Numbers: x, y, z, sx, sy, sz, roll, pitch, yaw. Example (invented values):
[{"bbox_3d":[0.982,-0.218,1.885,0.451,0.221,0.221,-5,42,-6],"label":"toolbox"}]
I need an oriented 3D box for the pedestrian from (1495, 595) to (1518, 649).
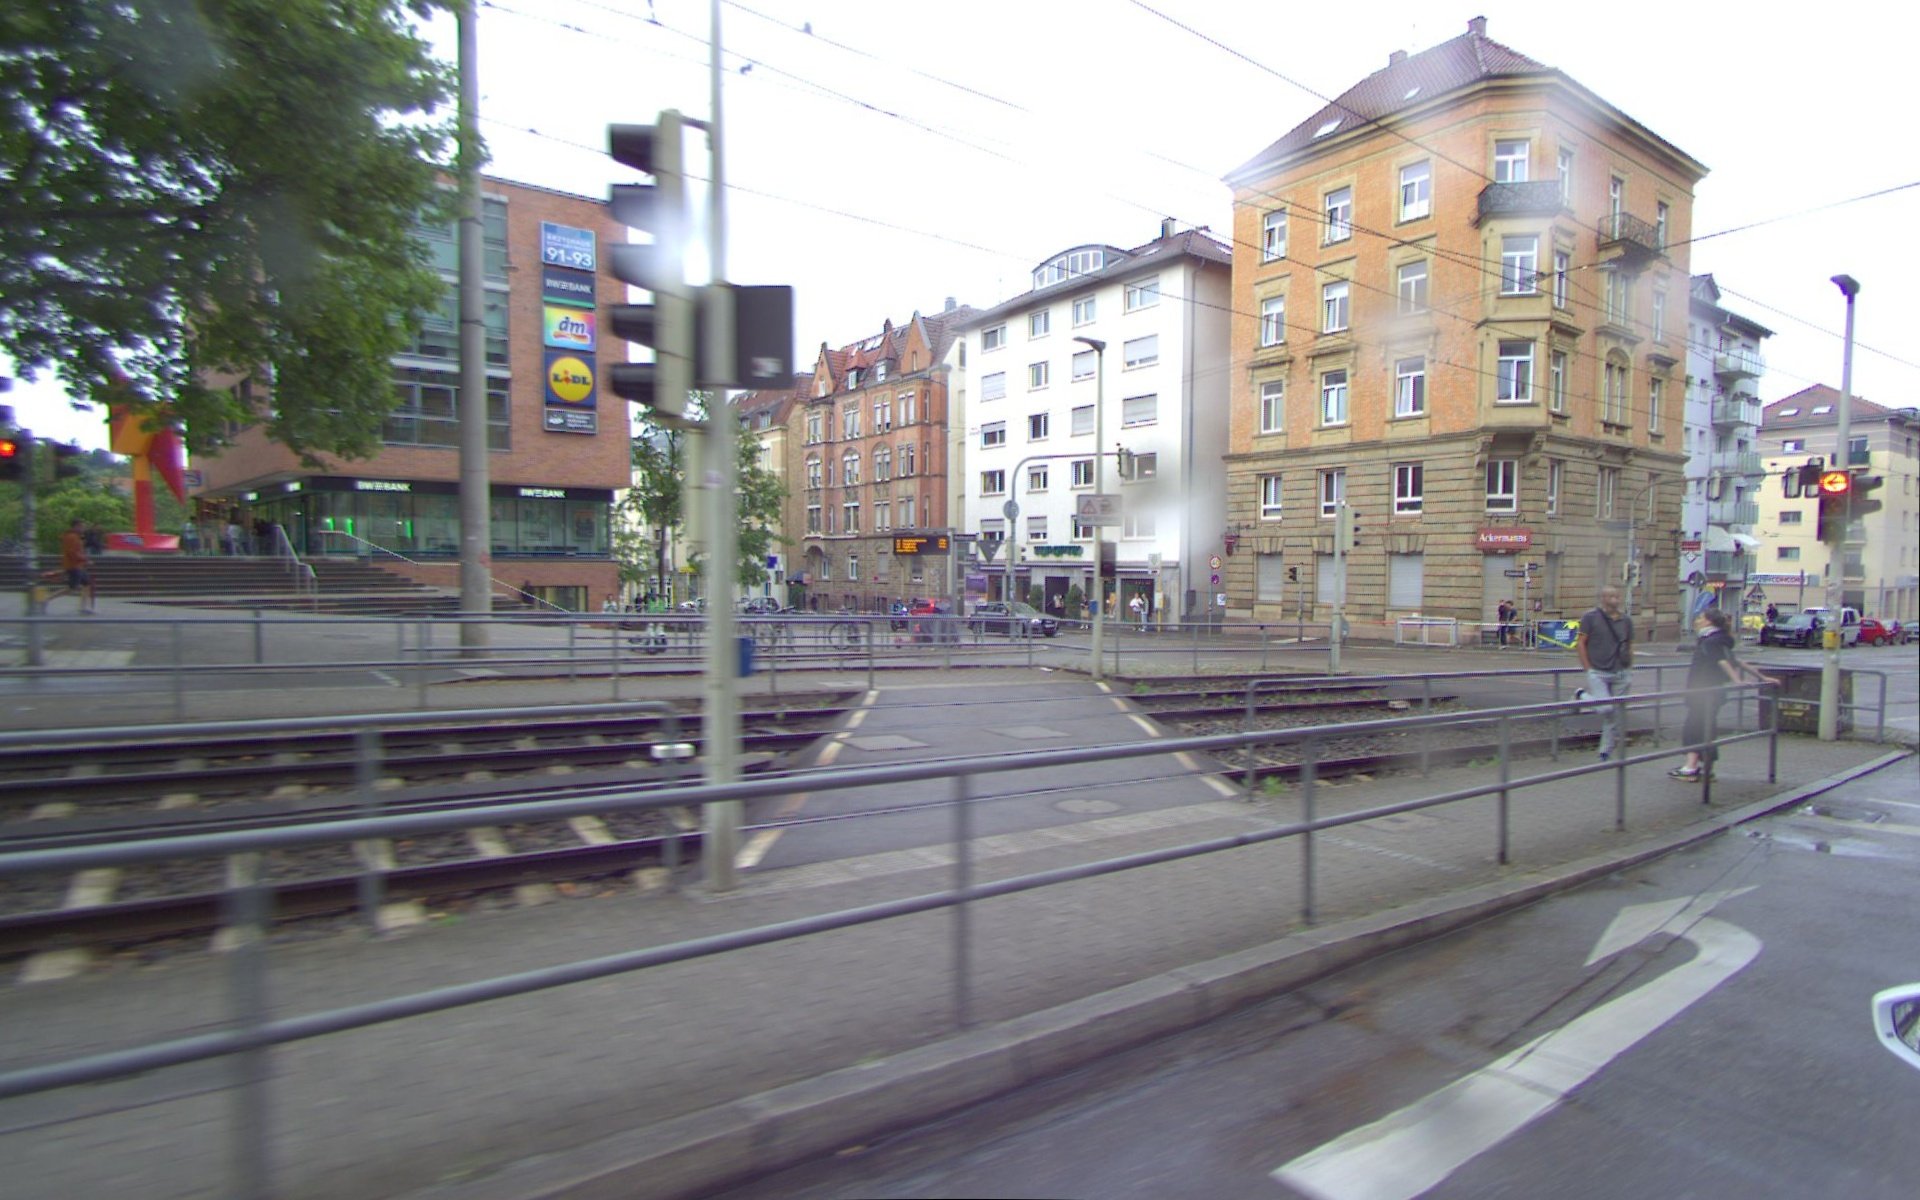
[{"bbox_3d":[18.601,0.756,34.204,0.616,1.791,0.639,-1,2,25],"label":"pedestrian"}]

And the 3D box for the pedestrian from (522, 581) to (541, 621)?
[{"bbox_3d":[-17.368,0.028,40.693,0.587,1.587,0.514,1,1,-38],"label":"pedestrian"}]

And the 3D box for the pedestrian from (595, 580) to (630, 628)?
[{"bbox_3d":[-12.932,0.152,37.388,0.999,1.753,0.890,1,1,-37],"label":"pedestrian"}]

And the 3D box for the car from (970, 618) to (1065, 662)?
[{"bbox_3d":[2.344,1.608,41.631,1.824,1.688,3.958,1,-1,-37],"label":"car"}]

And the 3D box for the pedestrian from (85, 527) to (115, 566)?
[{"bbox_3d":[-36.290,-2.253,42.387,0.702,1.571,0.626,1,0,0],"label":"pedestrian"}]

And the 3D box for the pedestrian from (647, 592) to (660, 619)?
[{"bbox_3d":[-18.965,0.338,62.195,0.594,1.651,0.567,1,1,-37],"label":"pedestrian"}]

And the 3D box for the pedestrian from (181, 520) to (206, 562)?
[{"bbox_3d":[-32.873,-2.518,43.083,0.639,1.753,0.725,2,1,41],"label":"pedestrian"}]

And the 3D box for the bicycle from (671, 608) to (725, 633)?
[{"bbox_3d":[-11.995,0.934,46.118,2.351,1.116,0.691,1,1,-44],"label":"bicycle"}]

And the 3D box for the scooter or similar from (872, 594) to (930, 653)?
[{"bbox_3d":[-1.478,0.574,25.079,1.483,1.389,0.451,2,1,38],"label":"scooter or similar"}]

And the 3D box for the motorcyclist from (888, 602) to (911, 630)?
[{"bbox_3d":[-2.915,0.792,48.396,0.833,1.320,0.806,1,1,-35],"label":"motorcyclist"}]

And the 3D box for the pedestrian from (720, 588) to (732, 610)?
[{"bbox_3d":[-20.690,-0.106,88.870,0.806,1.861,0.761,1,1,-37],"label":"pedestrian"}]

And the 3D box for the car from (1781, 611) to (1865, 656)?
[{"bbox_3d":[44.094,1.663,51.302,5.252,2.036,2.055,1,4,-37],"label":"car"}]

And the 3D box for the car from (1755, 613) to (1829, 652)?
[{"bbox_3d":[39.395,1.519,47.522,4.323,1.673,1.720,1,1,-37],"label":"car"}]

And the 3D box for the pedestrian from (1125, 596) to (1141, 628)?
[{"bbox_3d":[8.458,0.591,49.107,0.492,1.557,0.527,1,1,-32],"label":"pedestrian"}]

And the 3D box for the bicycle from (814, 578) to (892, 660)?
[{"bbox_3d":[-2.461,0.412,22.927,0.553,1.720,2.071,3,2,-42],"label":"bicycle"}]

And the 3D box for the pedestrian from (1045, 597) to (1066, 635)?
[{"bbox_3d":[5.207,0.888,54.817,0.759,2.040,0.858,1,0,-31],"label":"pedestrian"}]

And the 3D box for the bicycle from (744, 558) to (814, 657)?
[{"bbox_3d":[-3.918,0.131,21.613,0.515,2.041,1.873,1,2,-42],"label":"bicycle"}]

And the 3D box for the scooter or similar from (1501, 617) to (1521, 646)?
[{"bbox_3d":[19.128,1.085,34.865,0.545,0.957,0.577,1,0,23],"label":"scooter or similar"}]

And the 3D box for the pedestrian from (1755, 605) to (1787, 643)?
[{"bbox_3d":[43.960,1.287,54.445,1.169,1.955,1.160,1,1,-43],"label":"pedestrian"}]

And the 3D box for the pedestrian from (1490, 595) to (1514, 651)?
[{"bbox_3d":[18.512,0.777,34.328,0.615,1.864,0.640,1,0,21],"label":"pedestrian"}]

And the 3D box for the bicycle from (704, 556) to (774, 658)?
[{"bbox_3d":[-4.626,0.112,20.916,0.515,2.041,1.873,1,2,-42],"label":"bicycle"}]

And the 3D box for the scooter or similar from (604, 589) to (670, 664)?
[{"bbox_3d":[-6.381,0.502,19.831,1.483,1.389,0.451,2,1,38],"label":"scooter or similar"}]

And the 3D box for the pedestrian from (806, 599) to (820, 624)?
[{"bbox_3d":[-11.156,0.853,76.196,0.806,1.861,0.761,1,0,-37],"label":"pedestrian"}]

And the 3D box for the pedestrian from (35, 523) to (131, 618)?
[{"bbox_3d":[-17.443,-0.573,20.006,1.049,1.767,0.793,5,0,-2],"label":"pedestrian"}]

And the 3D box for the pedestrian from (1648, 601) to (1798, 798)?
[{"bbox_3d":[6.853,0.841,9.023,0.993,1.626,0.828,1,0,-38],"label":"pedestrian"}]

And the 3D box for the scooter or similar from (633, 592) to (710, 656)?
[{"bbox_3d":[-5.809,0.471,20.184,1.689,1.210,0.477,1,0,34],"label":"scooter or similar"}]

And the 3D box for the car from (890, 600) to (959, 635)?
[{"bbox_3d":[-1.915,0.922,53.289,1.621,1.603,3.957,1,2,-37],"label":"car"}]

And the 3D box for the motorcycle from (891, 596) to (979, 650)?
[{"bbox_3d":[-0.705,0.597,27.056,0.860,1.389,2.626,2,0,-42],"label":"motorcycle"}]

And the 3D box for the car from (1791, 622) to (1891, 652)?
[{"bbox_3d":[47.660,1.984,54.397,3.905,1.453,1.785,2,1,-2],"label":"car"}]

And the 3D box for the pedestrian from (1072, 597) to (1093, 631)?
[{"bbox_3d":[6.316,0.731,51.778,0.660,1.692,0.825,1,1,-33],"label":"pedestrian"}]

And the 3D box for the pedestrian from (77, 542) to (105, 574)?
[{"bbox_3d":[-43.831,-2.122,50.677,0.715,1.551,0.854,1,0,-11],"label":"pedestrian"}]

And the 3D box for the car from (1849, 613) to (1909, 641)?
[{"bbox_3d":[52.754,1.555,57.640,4.032,1.471,1.643,1,0,-34],"label":"car"}]

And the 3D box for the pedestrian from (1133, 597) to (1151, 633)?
[{"bbox_3d":[8.739,0.708,48.242,0.588,1.690,0.598,1,0,-26],"label":"pedestrian"}]

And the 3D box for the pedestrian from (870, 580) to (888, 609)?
[{"bbox_3d":[-5.280,-0.351,65.530,0.806,1.861,0.761,1,1,-37],"label":"pedestrian"}]

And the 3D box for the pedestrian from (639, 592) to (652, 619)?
[{"bbox_3d":[-19.264,0.345,61.574,0.569,1.651,0.567,1,1,-37],"label":"pedestrian"}]

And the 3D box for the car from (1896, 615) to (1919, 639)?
[{"bbox_3d":[60.097,1.691,62.790,4.581,1.414,1.667,1,0,-38],"label":"car"}]

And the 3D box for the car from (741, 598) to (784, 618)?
[{"bbox_3d":[-14.286,0.567,72.526,1.619,1.310,3.962,1,1,-33],"label":"car"}]

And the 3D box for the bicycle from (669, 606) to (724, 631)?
[{"bbox_3d":[-12.395,0.881,47.268,2.342,1.116,0.844,1,1,-34],"label":"bicycle"}]

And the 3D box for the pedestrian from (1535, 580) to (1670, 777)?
[{"bbox_3d":[6.358,0.734,9.941,0.993,1.822,0.819,1,0,-38],"label":"pedestrian"}]

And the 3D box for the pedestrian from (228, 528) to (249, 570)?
[{"bbox_3d":[-30.701,-2.166,42.734,0.644,1.753,0.611,1,1,-43],"label":"pedestrian"}]

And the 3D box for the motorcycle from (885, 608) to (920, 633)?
[{"bbox_3d":[-2.781,0.979,48.193,0.858,1.174,1.833,1,0,-35],"label":"motorcycle"}]
